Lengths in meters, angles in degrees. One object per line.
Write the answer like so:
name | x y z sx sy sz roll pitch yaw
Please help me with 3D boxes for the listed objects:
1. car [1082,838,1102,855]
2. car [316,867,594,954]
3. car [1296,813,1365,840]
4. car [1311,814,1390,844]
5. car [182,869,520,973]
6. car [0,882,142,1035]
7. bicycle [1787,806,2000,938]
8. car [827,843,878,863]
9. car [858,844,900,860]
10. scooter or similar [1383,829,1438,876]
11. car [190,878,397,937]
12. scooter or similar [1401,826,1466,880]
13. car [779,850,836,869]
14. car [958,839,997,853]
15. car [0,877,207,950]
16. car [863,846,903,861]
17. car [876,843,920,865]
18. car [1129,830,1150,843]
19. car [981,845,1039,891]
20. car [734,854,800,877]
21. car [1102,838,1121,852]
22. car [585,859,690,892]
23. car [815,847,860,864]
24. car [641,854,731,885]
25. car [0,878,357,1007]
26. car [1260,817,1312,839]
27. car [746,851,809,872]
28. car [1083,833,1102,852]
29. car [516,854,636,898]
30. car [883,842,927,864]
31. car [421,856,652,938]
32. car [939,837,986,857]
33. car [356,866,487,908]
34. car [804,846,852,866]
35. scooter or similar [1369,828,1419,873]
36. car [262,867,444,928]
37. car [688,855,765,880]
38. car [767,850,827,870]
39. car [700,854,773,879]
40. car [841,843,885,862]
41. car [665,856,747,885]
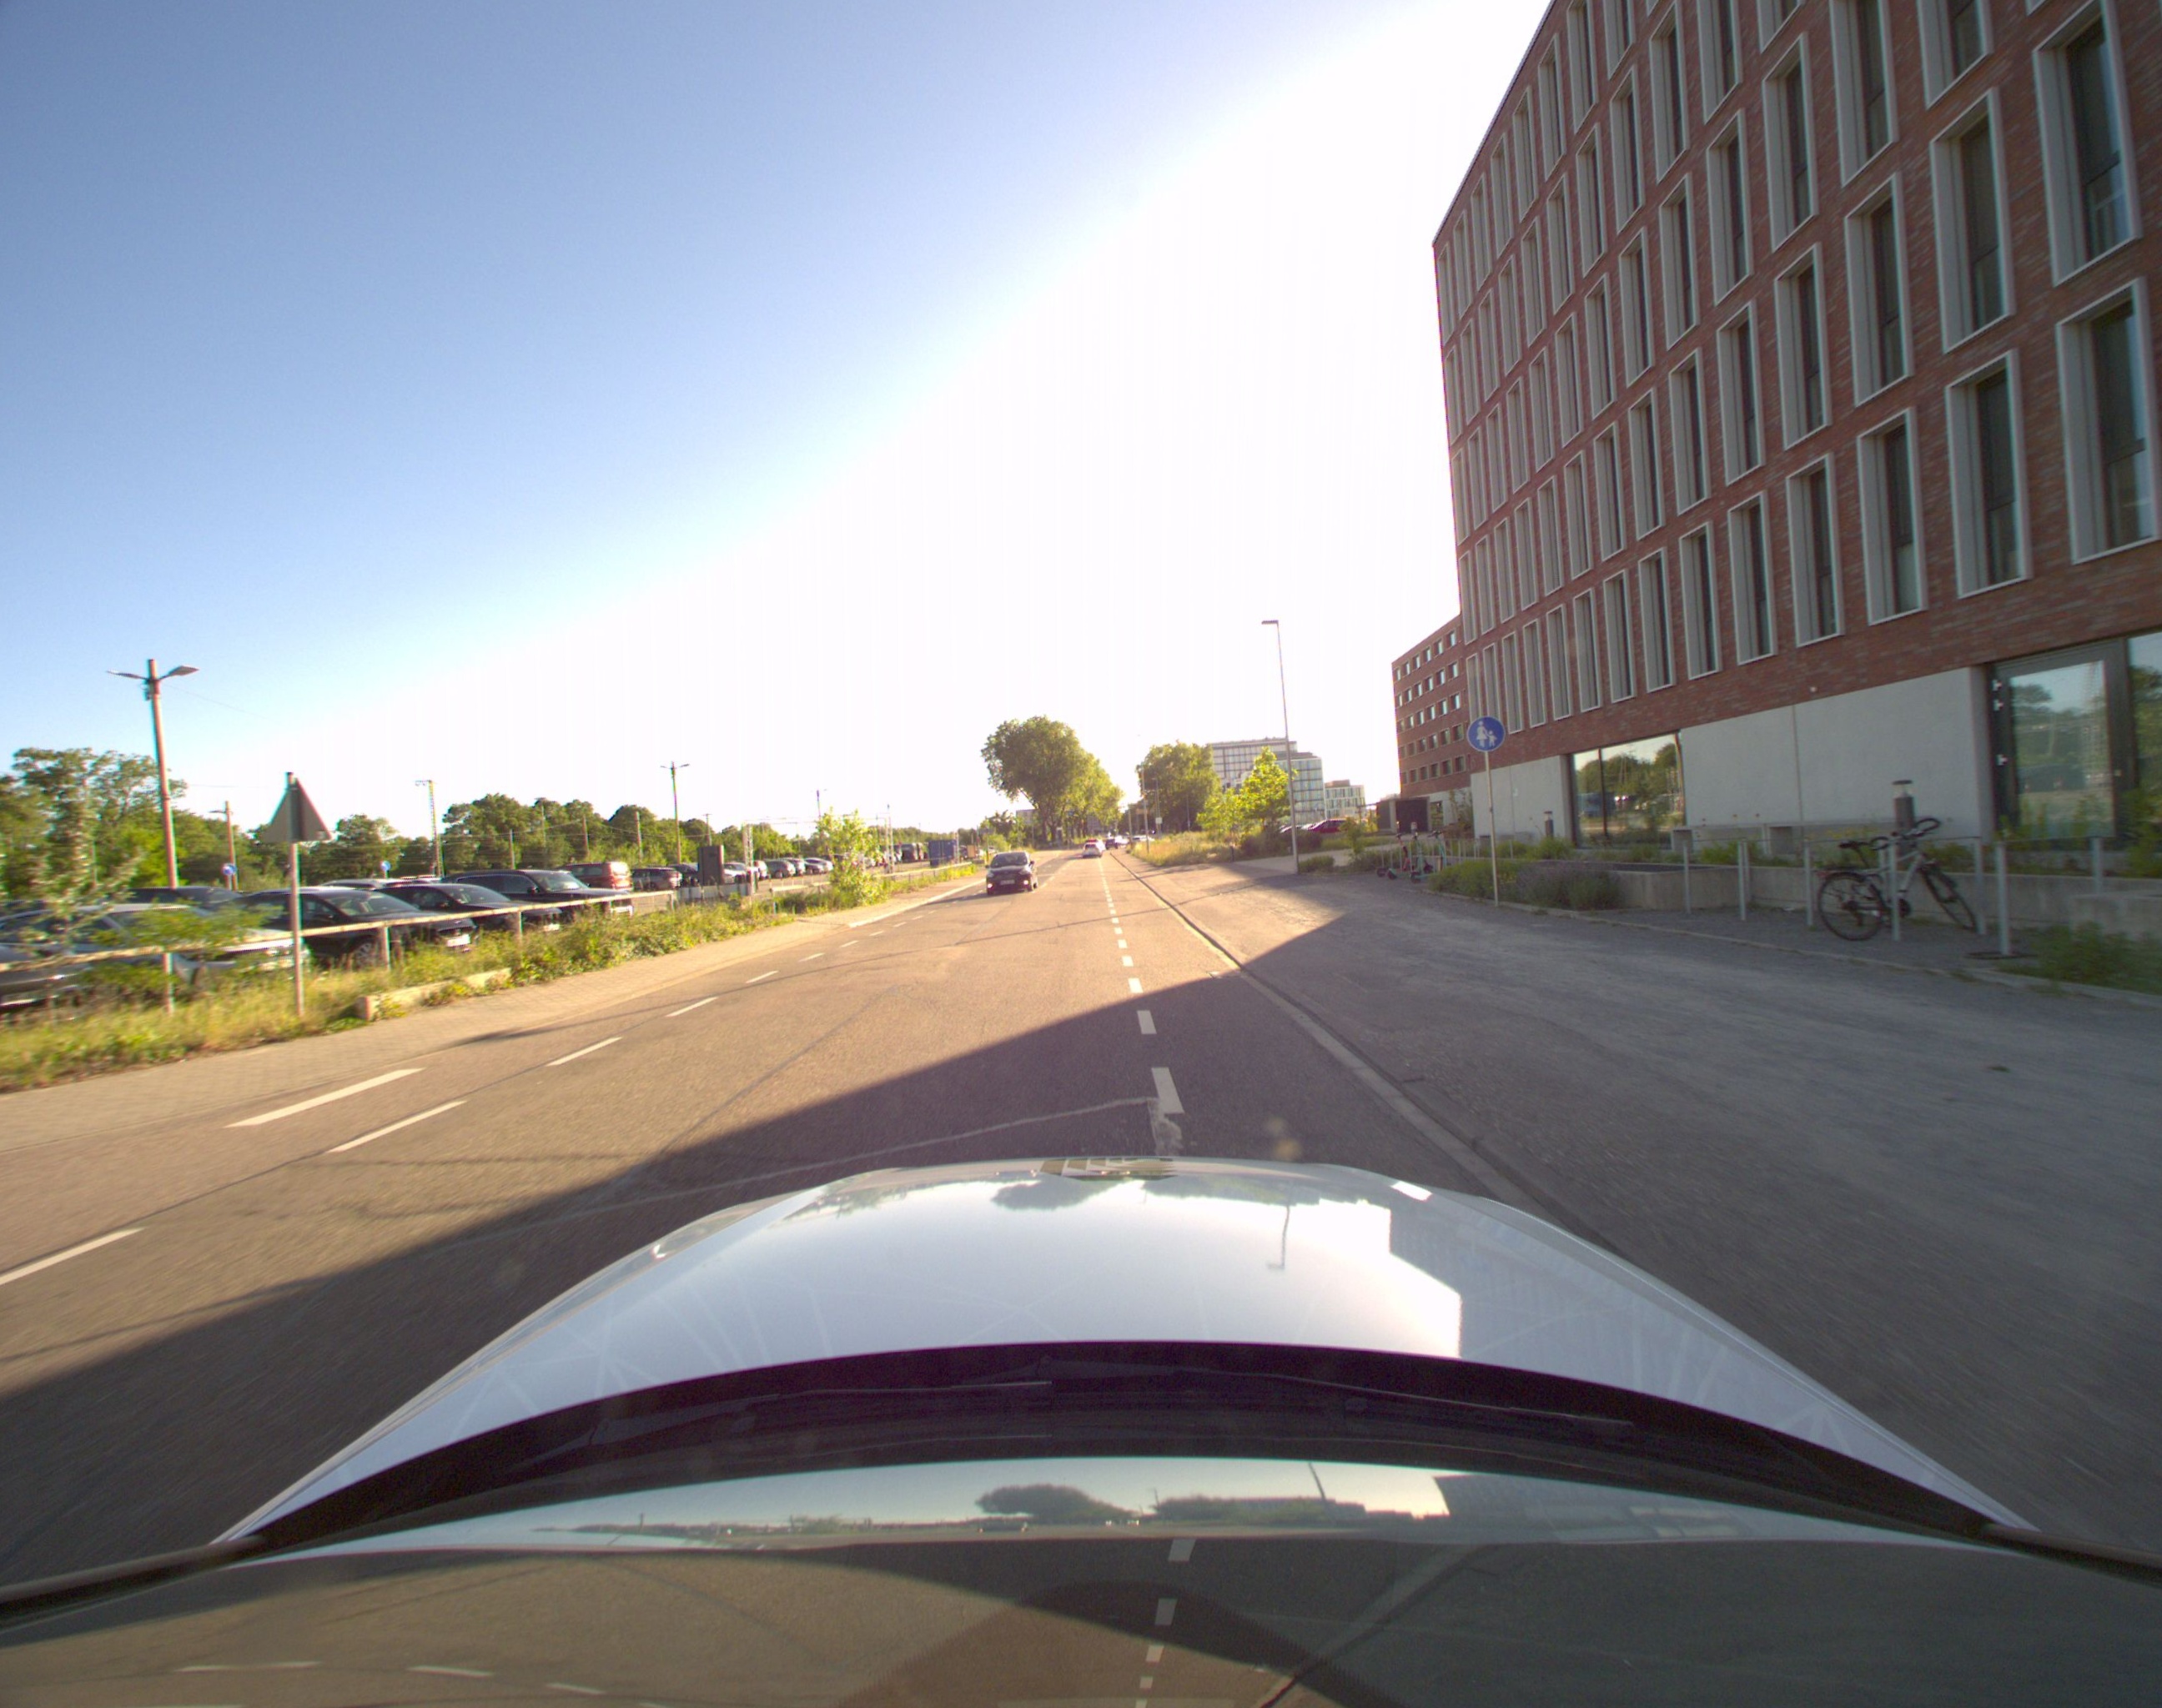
car | 1.084 -0.736 77.464 1.783 1.420 4.002 -3 1 1
car | -13.535 1.186 17.813 4.411 1.461 2.050 -4 1 2
car | 17.123 -1.861 56.061 4.165 1.580 1.854 -3 -1 4
car | 16.231 -1.489 49.121 4.165 1.580 1.854 -3 1 4
car | -13.437 1.191 15.221 4.411 1.461 2.050 -4 1 2
car | -13.886 1.287 9.078 4.411 1.580 2.050 -4 1 2
bicycle | 8.424 0.176 8.457 1.929 1.169 0.374 -5 1 -6
car | -23.547 -0.088 84.115 4.559 1.740 2.061 -3 1 4
car | -23.588 -0.224 95.078 4.308 1.617 1.878 -3 1 0
scooter or similar | 8.764 -0.037 21.667 1.237 1.155 0.366 -4 1 5
car | -24.092 1.605 25.060 4.151 1.397 2.046 -4 1 -3
scooter or similar | 8.691 -0.028 20.104 1.334 1.245 0.424 -4 1 5
car | -23.938 0.507 71.440 4.308 1.376 1.878 -3 1 0
car | -12.762 -1.001 100.546 4.527 1.557 1.878 -3 1 0
car | -24.304 1.438 19.571 4.151 1.397 2.046 -4 1 -3
car | -23.685 -0.087 97.631 4.194 1.617 1.878 -3 1 0
car | -23.039 -0.036 102.685 4.911 2.459 2.320 -4 1 0
car | 8.214 -2.466 113.895 2.147 1.684 4.017 -3 0 16
car | -2.617 0.469 30.841 1.648 1.503 4.001 -5 0 1
car | -24.335 0.883 63.270 4.308 1.419 1.878 -3 1 0
car | 4.102 -1.228 107.578 2.153 1.683 4.007 -4 1 6
car | -24.286 1.157 44.705 4.556 1.480 1.993 -3 1 4
car | -24.275 0.145 81.264 3.870 1.519 1.878 -3 1 0
car | -24.395 0.957 50.357 4.559 1.585 1.858 -3 1 1
car | -13.804 1.272 11.984 4.411 1.461 2.050 -4 1 2
car | 17.626 -2.248 70.150 3.969 1.705 1.854 -3 1 4
car | -24.639 0.604 66.143 4.308 1.419 1.878 -3 1 0
car | 1.192 -1.184 83.492 1.812 1.768 4.632 -3 1 2
car | -24.387 1.030 39.451 4.559 1.805 1.858 -3 1 1
car | -22.760 -0.160 105.375 5.080 2.459 2.320 -3 1 0
car | -13.752 1.047 20.787 4.411 1.670 2.050 -4 1 2
car | -12.983 -0.767 89.345 4.830 1.834 2.000 -3 1 0
car | -29.806 1.466 36.890 4.351 1.545 1.858 -3 1 1
car | -23.826 0.194 76.859 3.870 1.603 1.878 -3 1 0
scooter or similar | 8.887 -0.102 23.137 1.237 1.195 0.341 -4 1 5
car | -24.340 1.431 27.369 4.150 1.661 1.965 -4 1 -2
car | -24.071 0.914 55.355 4.306 1.393 1.879 -3 1 1
car | -23.907 0.516 68.644 4.308 1.376 1.878 -3 1 0
car | -24.461 0.853 57.935 4.306 1.463 1.879 -3 1 1
car | -24.010 -0.184 89.818 4.308 1.791 1.878 -3 1 0
car | -24.261 1.051 52.767 4.306 1.523 1.879 -3 1 1
